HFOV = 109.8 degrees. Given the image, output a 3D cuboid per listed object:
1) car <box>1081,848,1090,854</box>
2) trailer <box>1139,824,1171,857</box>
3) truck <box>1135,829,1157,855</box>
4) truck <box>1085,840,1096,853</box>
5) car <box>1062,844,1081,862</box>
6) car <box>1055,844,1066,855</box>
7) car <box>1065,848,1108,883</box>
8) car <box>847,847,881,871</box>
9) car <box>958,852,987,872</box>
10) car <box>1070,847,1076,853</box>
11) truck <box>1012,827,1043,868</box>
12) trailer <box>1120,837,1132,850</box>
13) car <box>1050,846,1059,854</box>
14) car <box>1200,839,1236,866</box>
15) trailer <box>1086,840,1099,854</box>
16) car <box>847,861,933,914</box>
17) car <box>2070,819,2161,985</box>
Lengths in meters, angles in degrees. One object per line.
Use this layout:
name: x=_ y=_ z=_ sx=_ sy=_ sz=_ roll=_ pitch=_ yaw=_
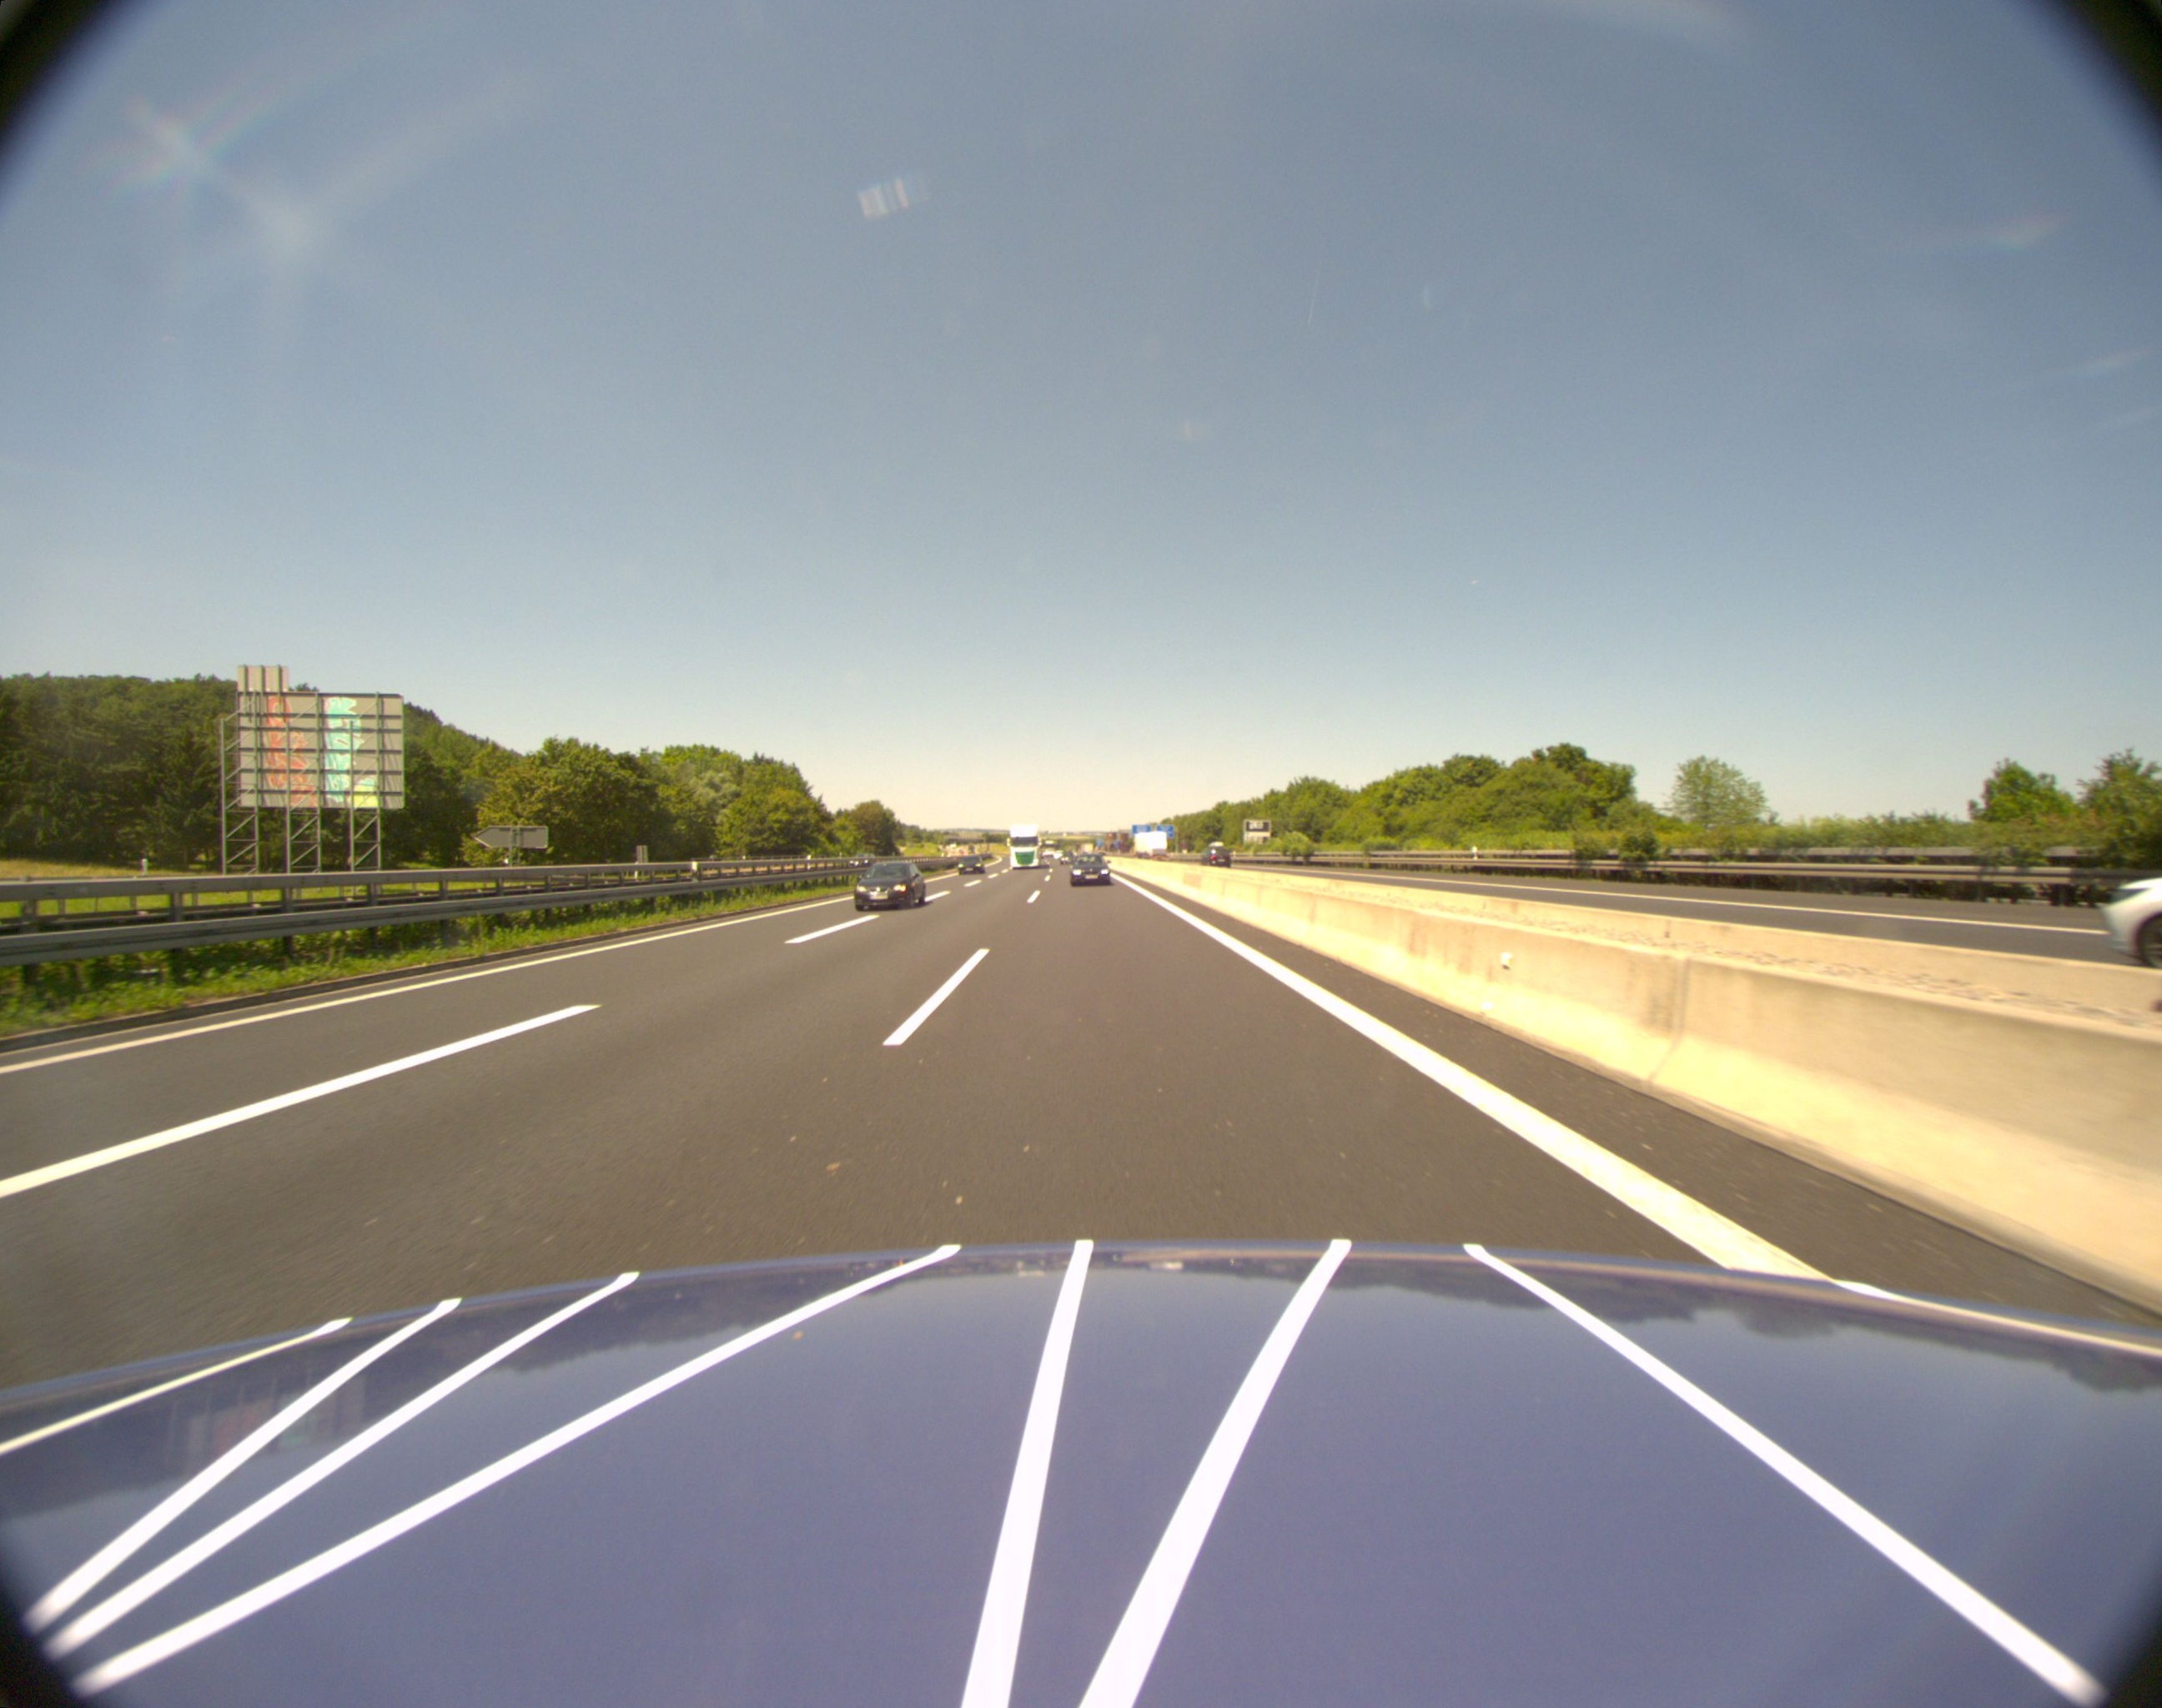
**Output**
car: x=1.076 y=-0.716 z=188.547 sx=1.733 sy=1.527 sz=4.611 roll=-1 pitch=1 yaw=-4
trailer: x=10.321 y=-1.932 z=107.525 sx=2.725 sy=4.287 sz=12.818 roll=-1 pitch=1 yaw=-3
truck: x=9.911 y=-1.830 z=116.386 sx=2.757 sy=3.733 sz=4.863 roll=-1 pitch=1 yaw=-3
truck: x=2.974 y=-2.262 z=233.778 sx=2.937 sy=3.950 sz=5.895 roll=-1 pitch=1 yaw=-3
car: x=-1.117 y=-0.109 z=86.949 sx=1.999 sy=2.002 sz=3.998 roll=-1 pitch=1 yaw=-4
car: x=-3.511 y=-0.779 z=132.148 sx=1.925 sy=2.002 sz=3.999 roll=-1 pitch=1 yaw=-2
car: x=0.200 y=0.508 z=37.837 sx=1.799 sy=1.574 sz=3.998 roll=-1 pitch=1 yaw=-4
car: x=-19.438 y=0.412 z=68.237 sx=1.999 sy=2.002 sz=3.999 roll=-1 pitch=1 yaw=-2
car: x=-8.467 y=0.599 z=59.526 sx=1.892 sy=1.464 sz=3.865 roll=-1 pitch=1 yaw=-3
car: x=-2.695 y=-1.413 z=254.300 sx=2.056 sy=2.002 sz=4.953 roll=-1 pitch=1 yaw=-3
truck: x=-4.948 y=-0.613 z=69.994 sx=2.650 sy=3.572 sz=4.401 roll=-1 pitch=1 yaw=-4
trailer: x=15.786 y=-3.673 z=267.601 sx=2.802 sy=4.408 sz=11.646 roll=-1 pitch=1 yaw=-5
car: x=-6.525 y=-0.950 z=187.579 sx=1.884 sy=1.836 sz=4.000 roll=0 pitch=1 yaw=0
car: x=10.999 y=-0.116 z=61.353 sx=1.999 sy=2.069 sz=4.702 roll=-1 pitch=1 yaw=-1
trailer: x=3.367 y=-2.184 z=227.211 sx=2.918 sy=4.022 sz=12.057 roll=-1 pitch=1 yaw=-3
car: x=-5.861 y=0.972 z=23.760 sx=1.781 sy=1.392 sz=3.759 roll=-1 pitch=1 yaw=-2
car: x=11.674 y=0.488 z=5.932 sx=1.873 sy=1.656 sz=4.663 roll=-1 pitch=1 yaw=1
